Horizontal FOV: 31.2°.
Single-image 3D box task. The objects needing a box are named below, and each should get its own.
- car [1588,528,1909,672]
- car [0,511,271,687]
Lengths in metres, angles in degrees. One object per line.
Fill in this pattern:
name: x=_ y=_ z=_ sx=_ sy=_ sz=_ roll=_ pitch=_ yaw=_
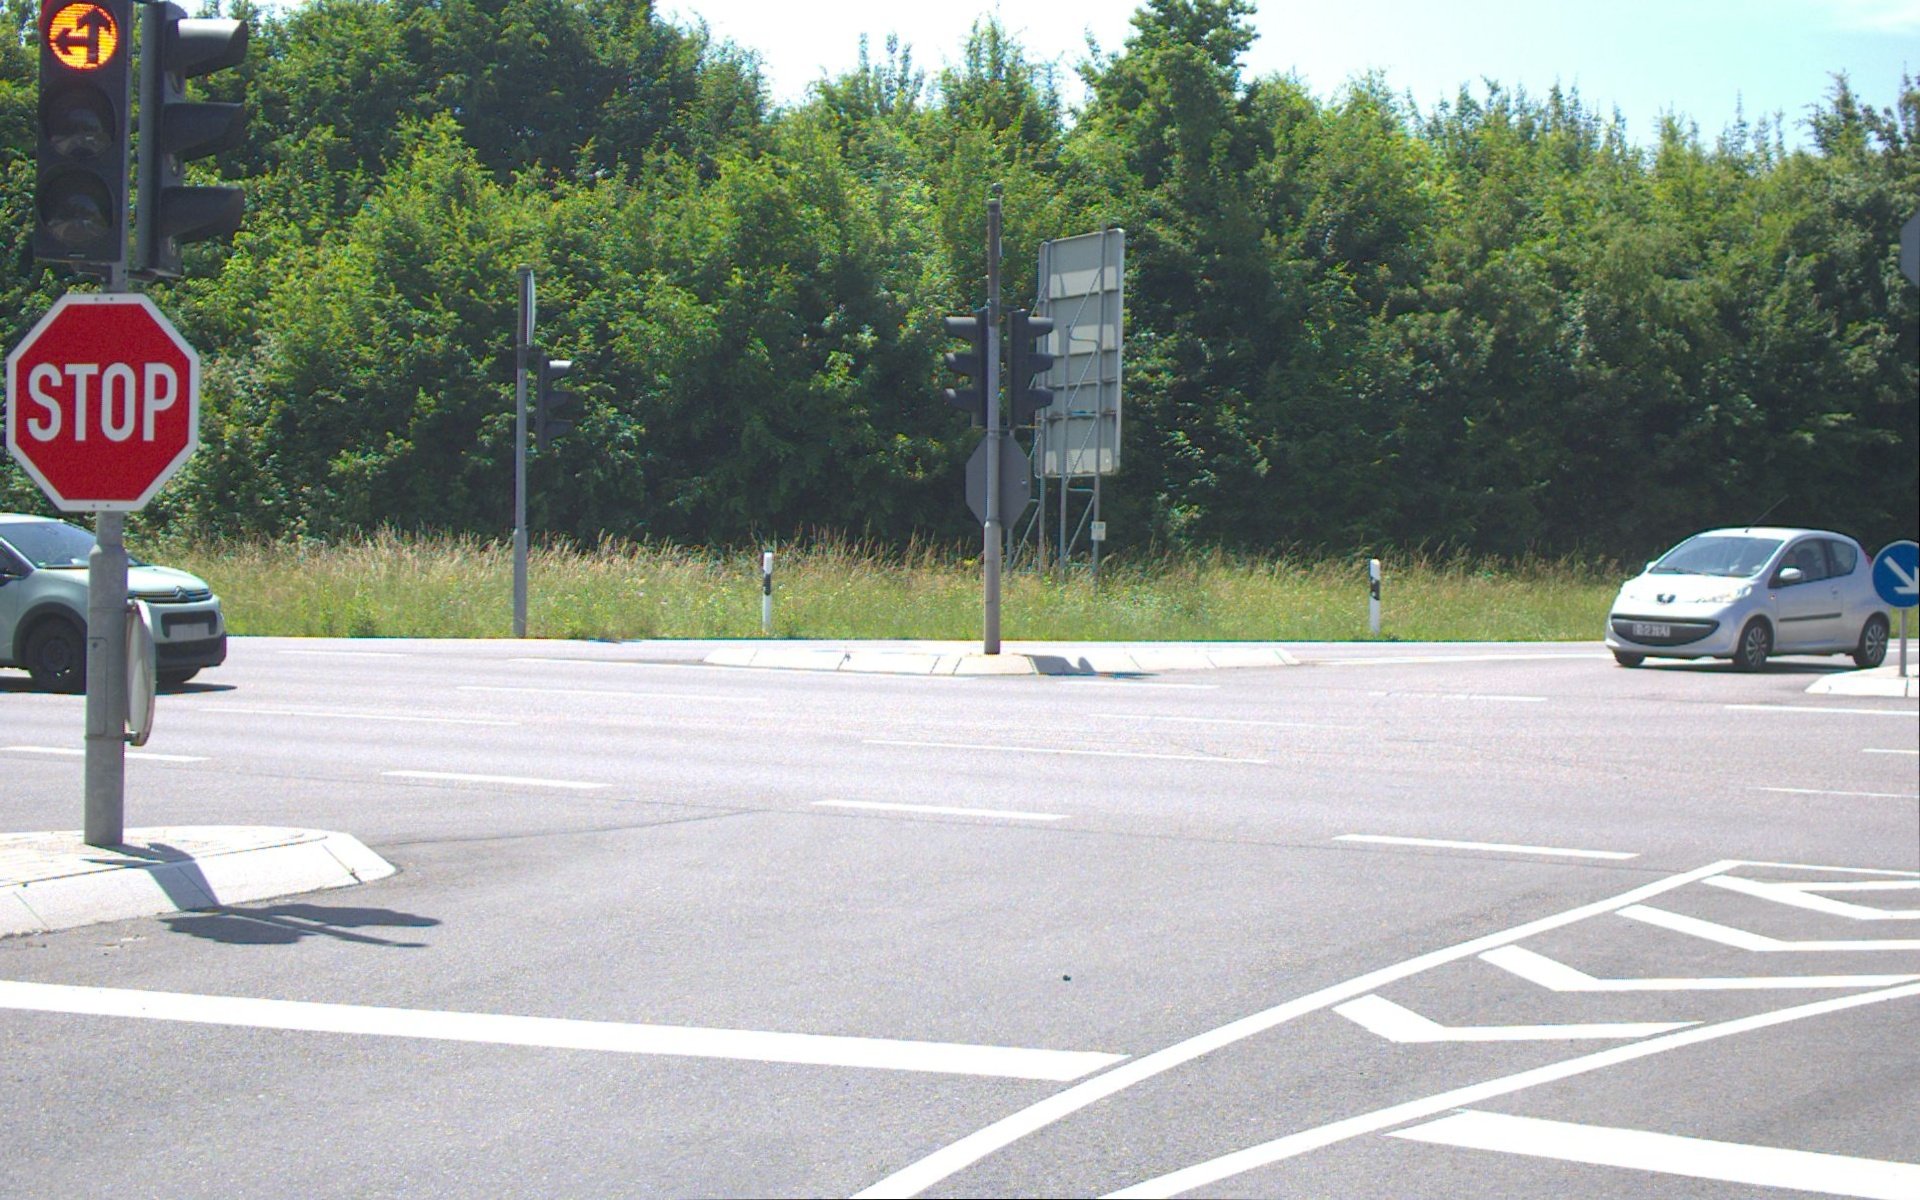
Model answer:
car: x=8.182 y=-0.036 z=35.545 sx=3.522 sy=1.366 sz=1.569 roll=-2 pitch=3 yaw=-44
car: x=-8.188 y=-0.053 z=30.067 sx=3.979 sy=1.399 sz=1.732 roll=1 pitch=3 yaw=25
